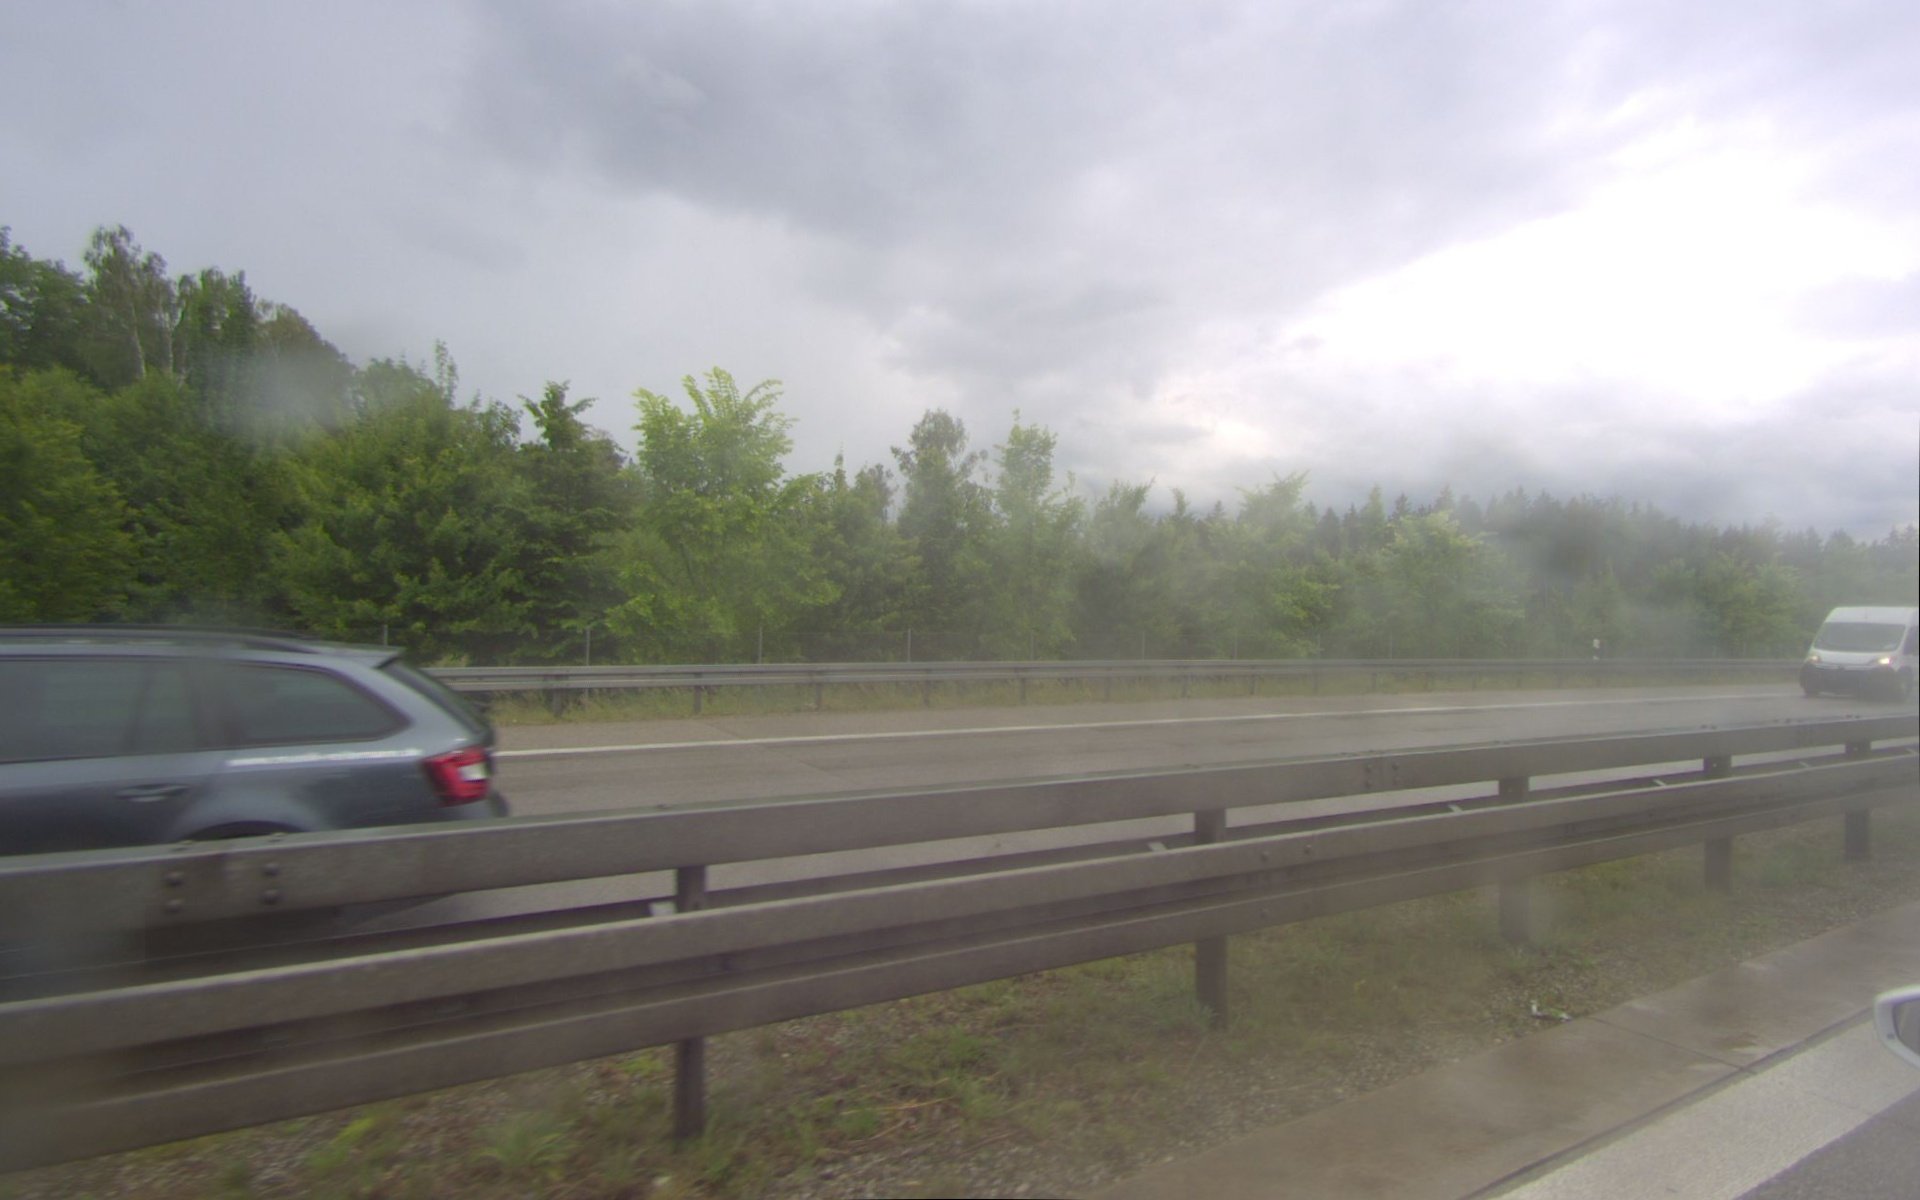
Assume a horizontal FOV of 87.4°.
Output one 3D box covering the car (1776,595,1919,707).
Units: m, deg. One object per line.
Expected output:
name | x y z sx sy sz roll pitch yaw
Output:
car | 25.504 1.358 27.771 6.795 2.785 2.339 2 -1 -31

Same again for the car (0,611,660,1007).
car | -3.856 0.772 4.454 4.553 1.437 1.759 1 -1 -31
